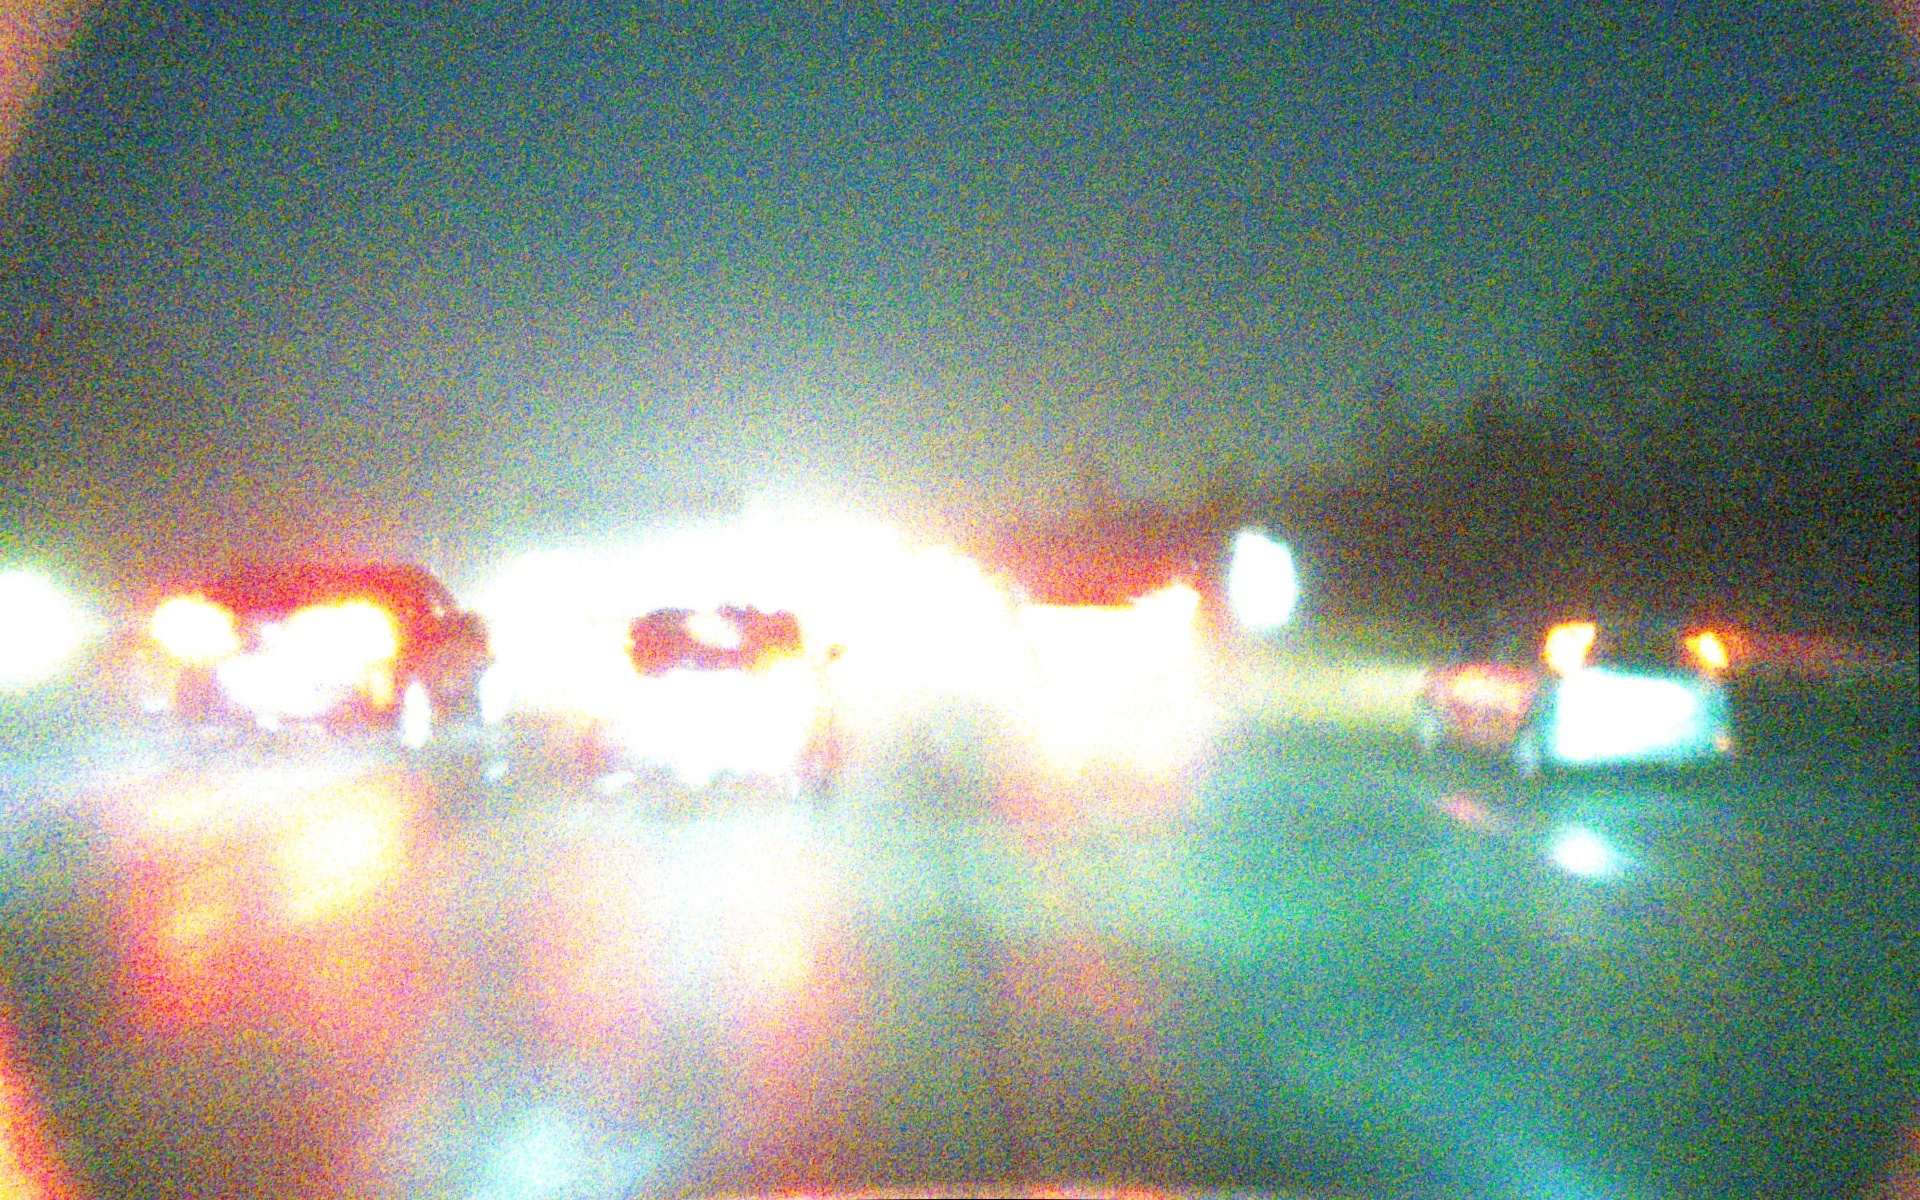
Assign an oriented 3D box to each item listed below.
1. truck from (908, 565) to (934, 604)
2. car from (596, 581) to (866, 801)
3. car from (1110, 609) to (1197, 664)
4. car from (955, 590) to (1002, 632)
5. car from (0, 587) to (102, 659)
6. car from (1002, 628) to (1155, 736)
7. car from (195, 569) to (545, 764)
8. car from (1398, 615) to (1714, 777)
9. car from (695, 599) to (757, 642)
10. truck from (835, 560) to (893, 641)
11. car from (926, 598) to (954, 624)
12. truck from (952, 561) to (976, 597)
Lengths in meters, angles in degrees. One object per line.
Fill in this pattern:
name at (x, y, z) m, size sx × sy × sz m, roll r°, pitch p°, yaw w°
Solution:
truck at (-3.209, -1.275, 137.140) m, size 1.953 × 3.095 × 6.464 m, roll -2°, pitch 0°, yaw -1°
car at (-1.704, 0.619, 13.506) m, size 1.765 × 1.513 × 3.998 m, roll 1°, pitch 0°, yaw -2°
car at (4.874, 0.908, 42.035) m, size 1.550 × 1.268 × 3.065 m, roll 1°, pitch 0°, yaw -6°
car at (0.717, 0.417, 67.578) m, size 1.825 × 1.646 × 3.999 m, roll 1°, pitch 0°, yaw -1°
car at (-23.263, 0.569, 41.040) m, size 1.954 × 1.676 × 3.951 m, roll -2°, pitch 0°, yaw -2°
car at (1.533, 1.061, 22.366) m, size 1.550 × 1.268 × 3.065 m, roll 1°, pitch 0°, yaw -6°
car at (-5.456, 0.510, 16.000) m, size 1.821 × 1.567 × 4.749 m, roll 1°, pitch 1°, yaw -2°
car at (5.337, 0.813, 15.201) m, size 1.550 × 1.268 × 3.065 m, roll 1°, pitch 0°, yaw -6°
car at (-7.446, 0.635, 52.846) m, size 1.629 × 1.258 × 3.758 m, roll -2°, pitch 0°, yaw -4°
truck at (-3.910, 0.010, 68.329) m, size 1.953 × 3.095 × 6.464 m, roll -2°, pitch 0°, yaw -1°
car at (-1.330, 0.735, 111.331) m, size 1.825 × 1.646 × 3.999 m, roll 1°, pitch 0°, yaw -1°
truck at (0.304, -1.899, 149.410) m, size 1.953 × 3.095 × 6.464 m, roll -2°, pitch 0°, yaw -1°
